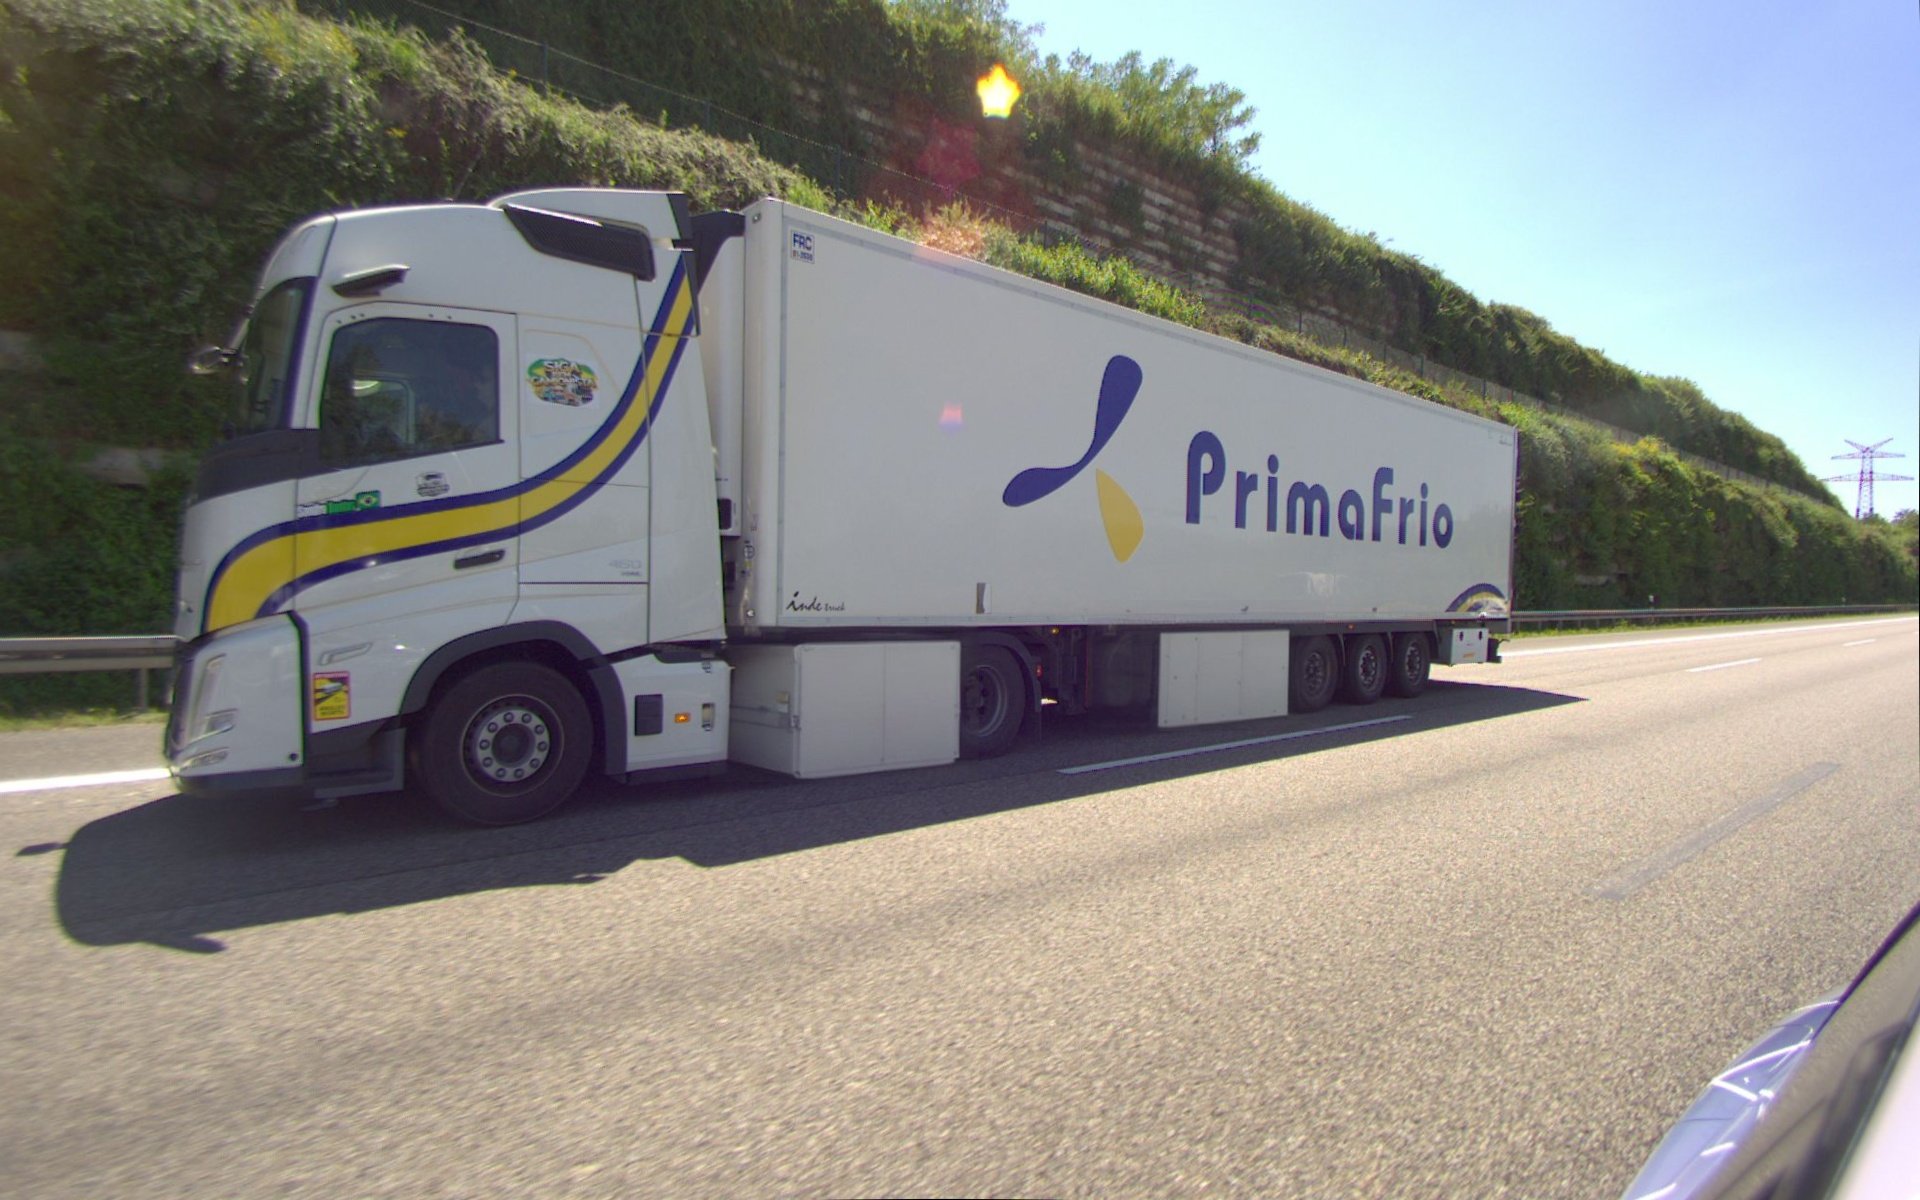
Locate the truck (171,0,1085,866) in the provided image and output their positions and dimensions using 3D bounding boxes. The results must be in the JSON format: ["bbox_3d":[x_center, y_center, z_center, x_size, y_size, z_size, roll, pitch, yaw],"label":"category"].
[{"bbox_3d":[-2.106,-0.943,7.752,6.146,4.272,2.513,0,2,-40],"label":"truck"}]

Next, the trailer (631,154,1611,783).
[{"bbox_3d":[4.293,-0.949,13.329,16.729,4.264,2.519,0,2,-41],"label":"trailer"}]
